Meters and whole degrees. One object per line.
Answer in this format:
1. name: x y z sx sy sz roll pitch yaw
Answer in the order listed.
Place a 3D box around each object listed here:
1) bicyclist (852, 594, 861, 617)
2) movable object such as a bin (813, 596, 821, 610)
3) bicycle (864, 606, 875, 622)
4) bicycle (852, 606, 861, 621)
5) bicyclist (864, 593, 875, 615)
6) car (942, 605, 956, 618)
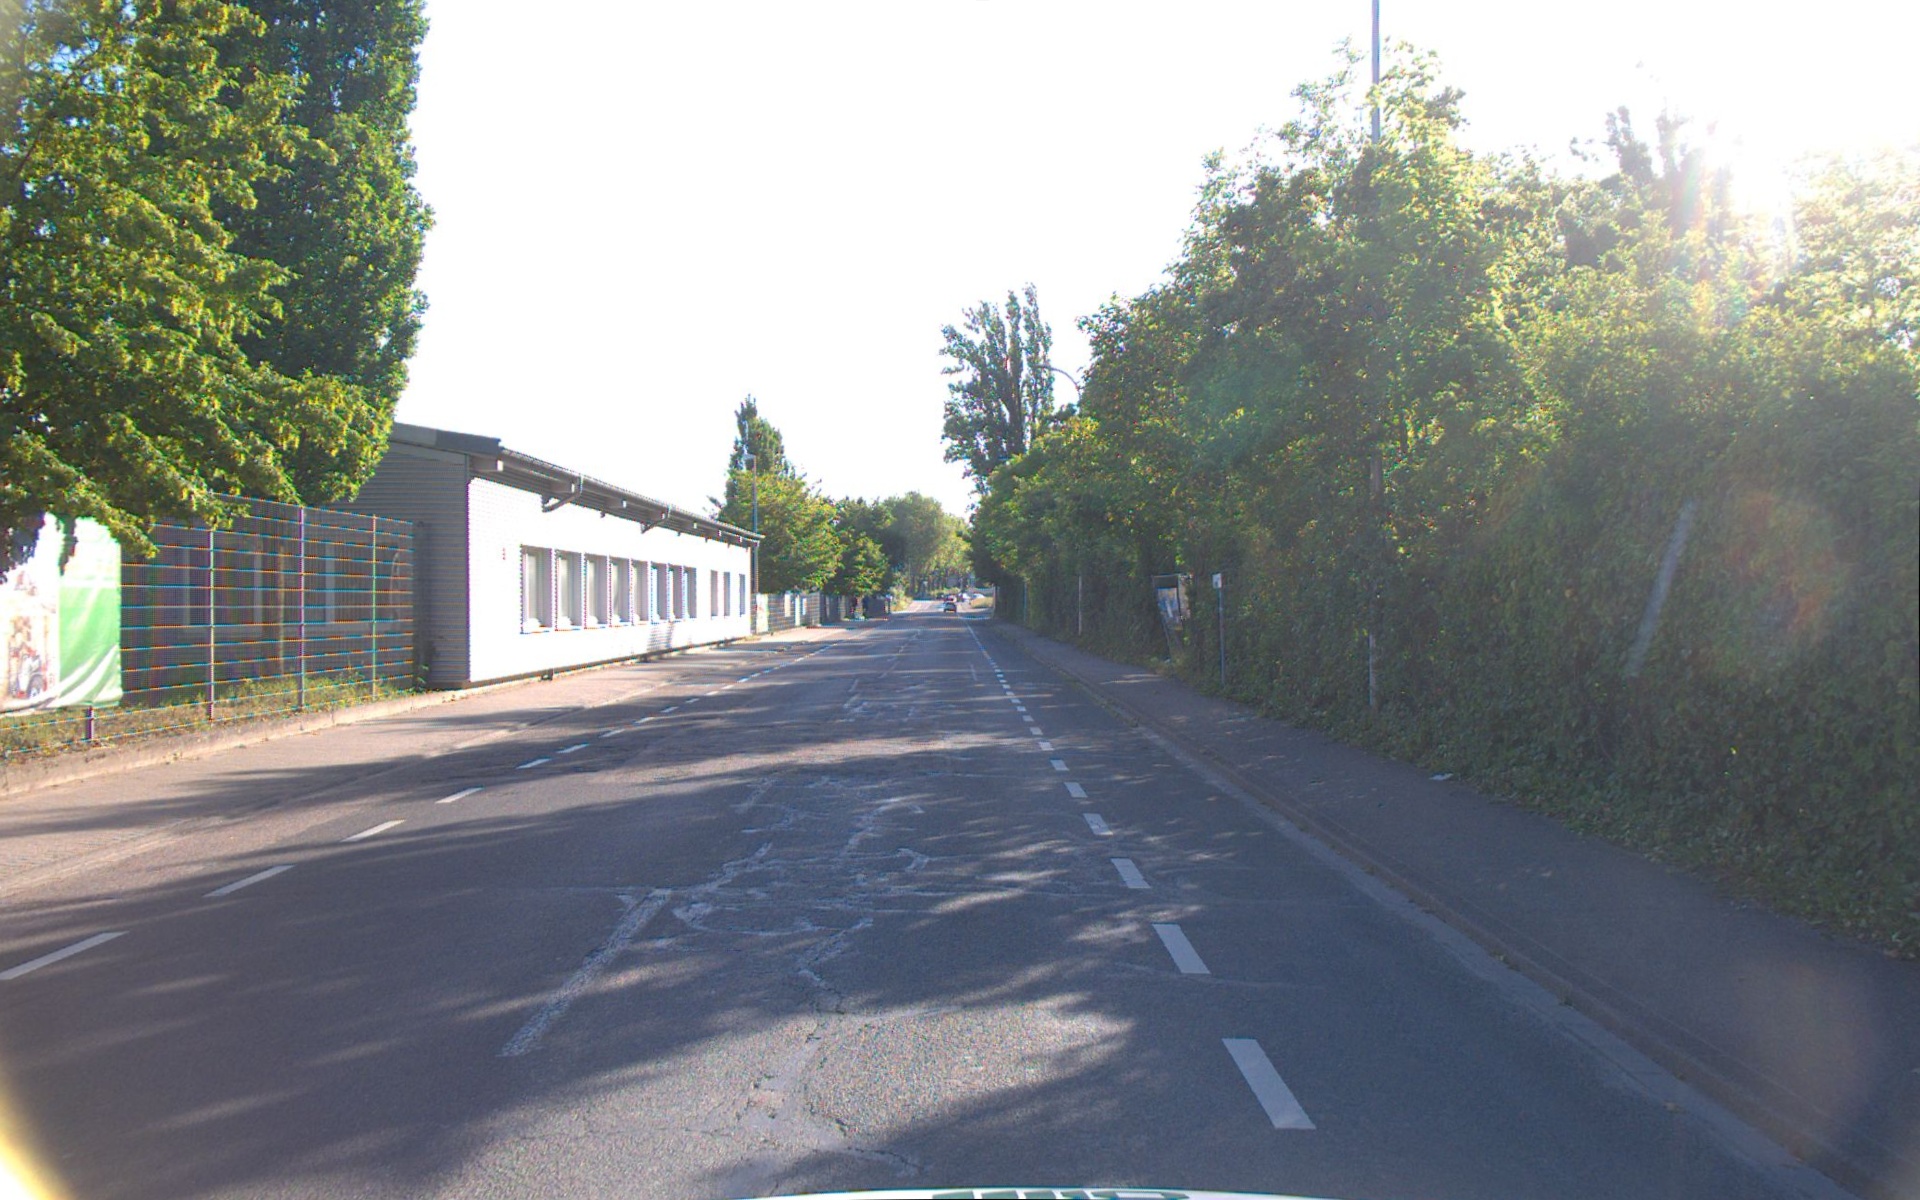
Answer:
1. bicyclist: -7.317 0.393 117.176 0.548 1.560 0.689 1 0 0
2. movable object such as a bin: -11.416 0.239 132.181 0.453 1.095 1.570 0 0 0
3. bicycle: -6.396 0.988 116.875 0.675 1.052 1.351 1 0 0
4. bicycle: -7.333 0.961 117.257 0.551 1.052 1.351 1 0 0
5. bicyclist: -6.386 0.300 116.853 0.675 1.558 0.722 1 0 -1
6. car: -1.511 1.577 226.957 1.902 1.679 4.309 1 1 0
